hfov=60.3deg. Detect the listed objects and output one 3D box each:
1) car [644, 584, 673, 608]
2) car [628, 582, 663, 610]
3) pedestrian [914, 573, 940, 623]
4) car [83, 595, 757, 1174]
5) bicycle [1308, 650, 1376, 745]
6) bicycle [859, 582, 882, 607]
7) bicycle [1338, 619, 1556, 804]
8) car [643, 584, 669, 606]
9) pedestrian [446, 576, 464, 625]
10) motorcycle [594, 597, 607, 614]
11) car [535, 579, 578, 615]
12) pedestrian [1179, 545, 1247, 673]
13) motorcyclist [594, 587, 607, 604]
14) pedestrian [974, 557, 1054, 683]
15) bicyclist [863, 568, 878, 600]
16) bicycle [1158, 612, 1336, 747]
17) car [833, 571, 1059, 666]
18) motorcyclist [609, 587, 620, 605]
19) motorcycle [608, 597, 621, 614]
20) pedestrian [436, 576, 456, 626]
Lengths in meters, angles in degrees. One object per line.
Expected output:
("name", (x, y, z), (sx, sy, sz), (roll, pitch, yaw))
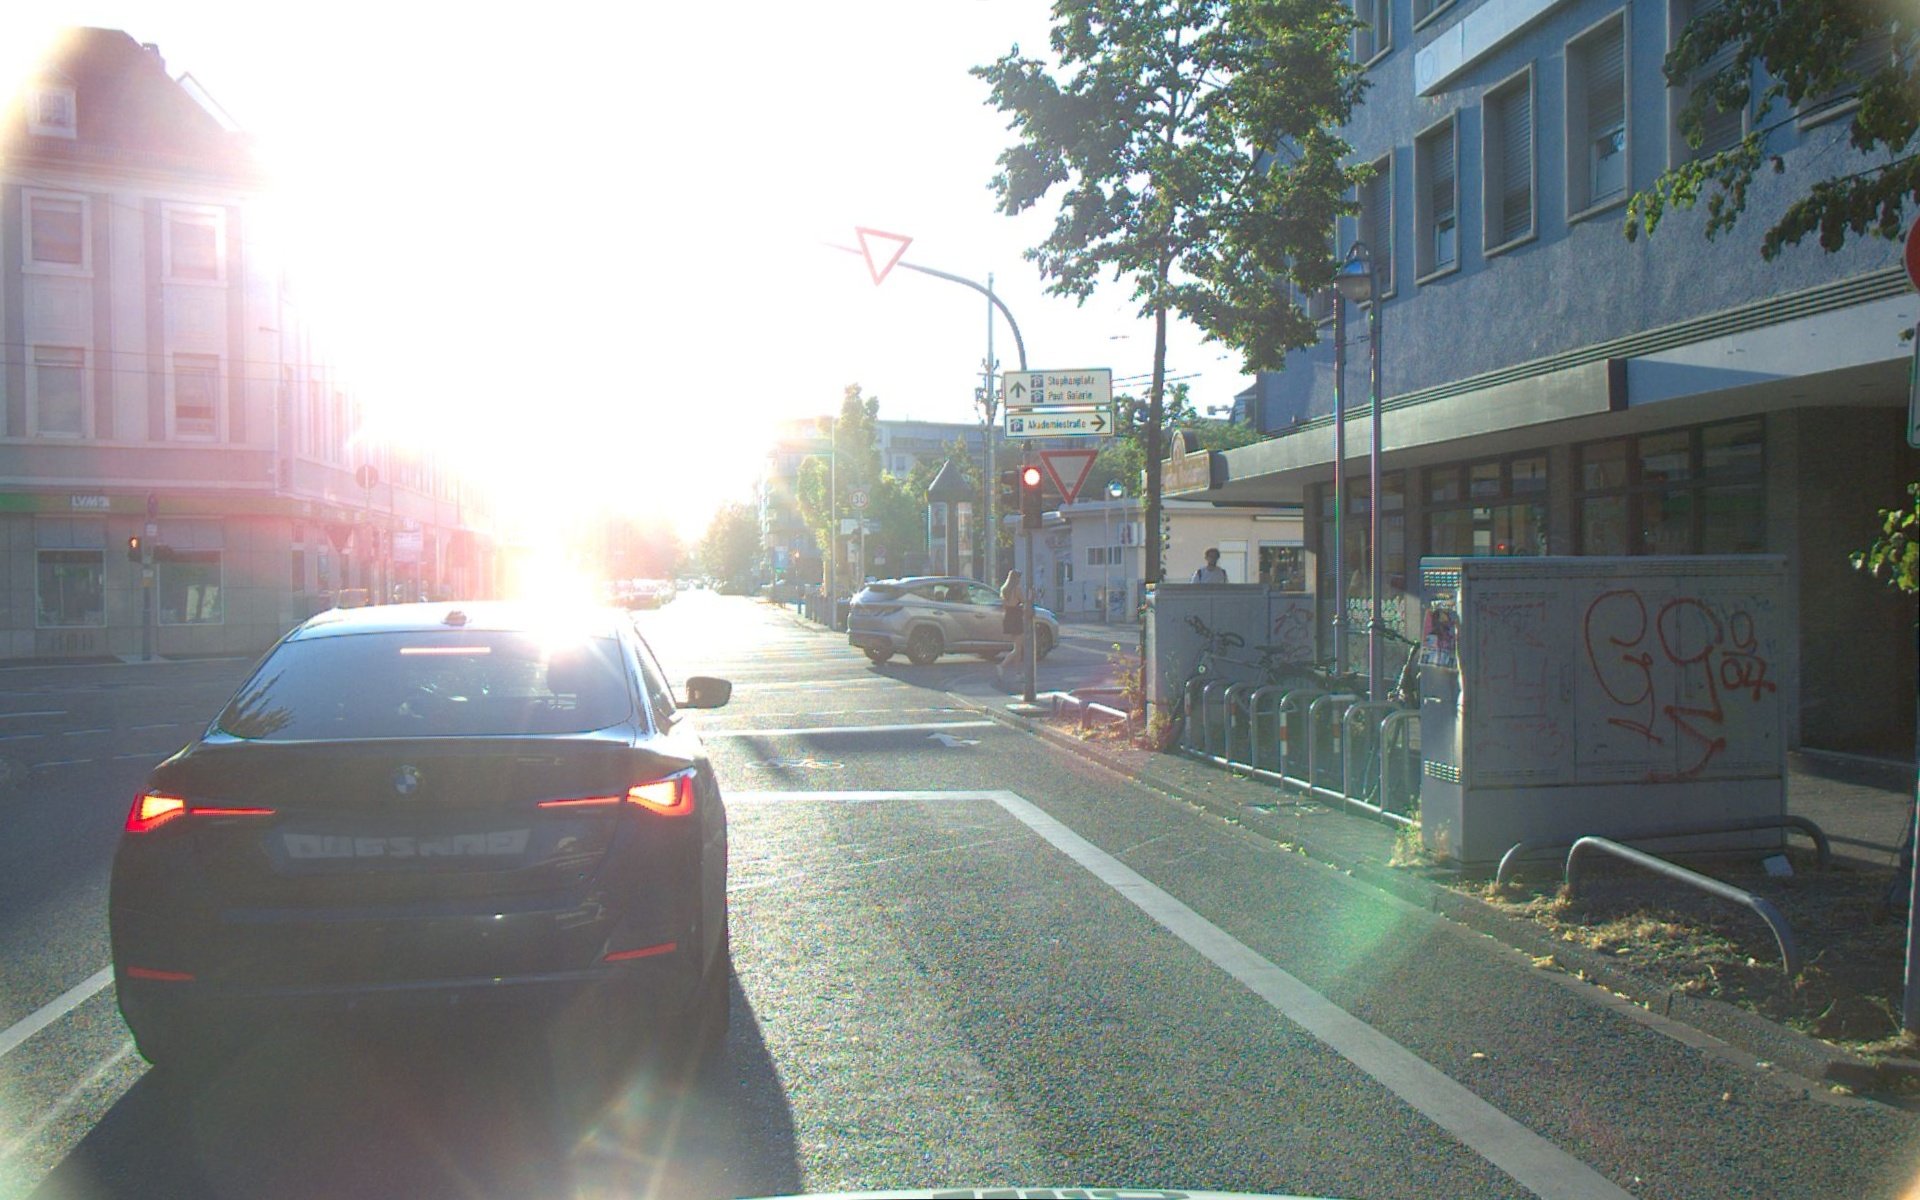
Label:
("car", (-20.523, -0.295, 112.669), (1.784, 1.545, 3.992), (-1, 1, -9))
("car", (-17.914, -0.230, 94.374), (1.784, 1.545, 3.992), (-1, 1, -9))
("pedestrian", (-1.037, -0.064, 52.214), (0.720, 1.555, 0.471), (1, 0, -15))
("car", (-1.749, 0.724, 6.455), (1.705, 1.453, 4.214), (0, 0, -10))
("bicycle", (3.555, 0.894, 15.440), (0.244, 0.810, 1.114), (1, 0, -7))
("bicycle", (-4.216, -0.250, 77.771), (0.541, 1.179, 2.134), (1, 0, -17))
("bicycle", (3.379, 0.770, 11.496), (1.413, 1.241, 0.383), (1, 0, -8))
("car", (-22.554, -0.384, 122.789), (1.784, 1.545, 3.992), (-1, 1, -9))
("pedestrian", (-19.708, 0.024, 64.545), (0.605, 1.909, 0.676), (1, 0, -13))
("motorcycle", (-20.380, 0.286, 93.833), (0.564, 0.931, 2.196), (1, 0, -8))
("car", (-21.154, -0.187, 86.753), (1.784, 1.819, 3.992), (-1, 1, -9))
("pedestrian", (3.777, 0.122, 24.727), (0.820, 1.874, 0.677), (-1, 0, -9))
("motorcyclist", (-20.369, -0.255, 93.821), (0.564, 0.931, 2.196), (1, 0, -8))
("pedestrian", (0.843, 0.299, 25.912), (0.990, 1.892, 0.634), (-4, 2, -29))
("bicyclist", (-4.213, -0.746, 77.785), (0.541, 1.507, 0.719), (1, 0, -17))
("bicycle", (2.634, 0.720, 15.180), (1.582, 1.191, 0.318), (-1, 0, -7))
("car", (-0.241, 0.311, 32.649), (4.242, 1.737, 1.784), (-1, 1, -35))
("motorcyclist", (-19.499, -0.238, 93.362), (0.564, 1.013, 0.701), (1, 0, -9))
("motorcycle", (-19.523, 0.302, 93.462), (0.564, 0.931, 2.196), (1, 0, -8))
("pedestrian", (-19.768, 0.027, 63.655), (0.631, 1.909, 0.630), (1, 0, -9))
